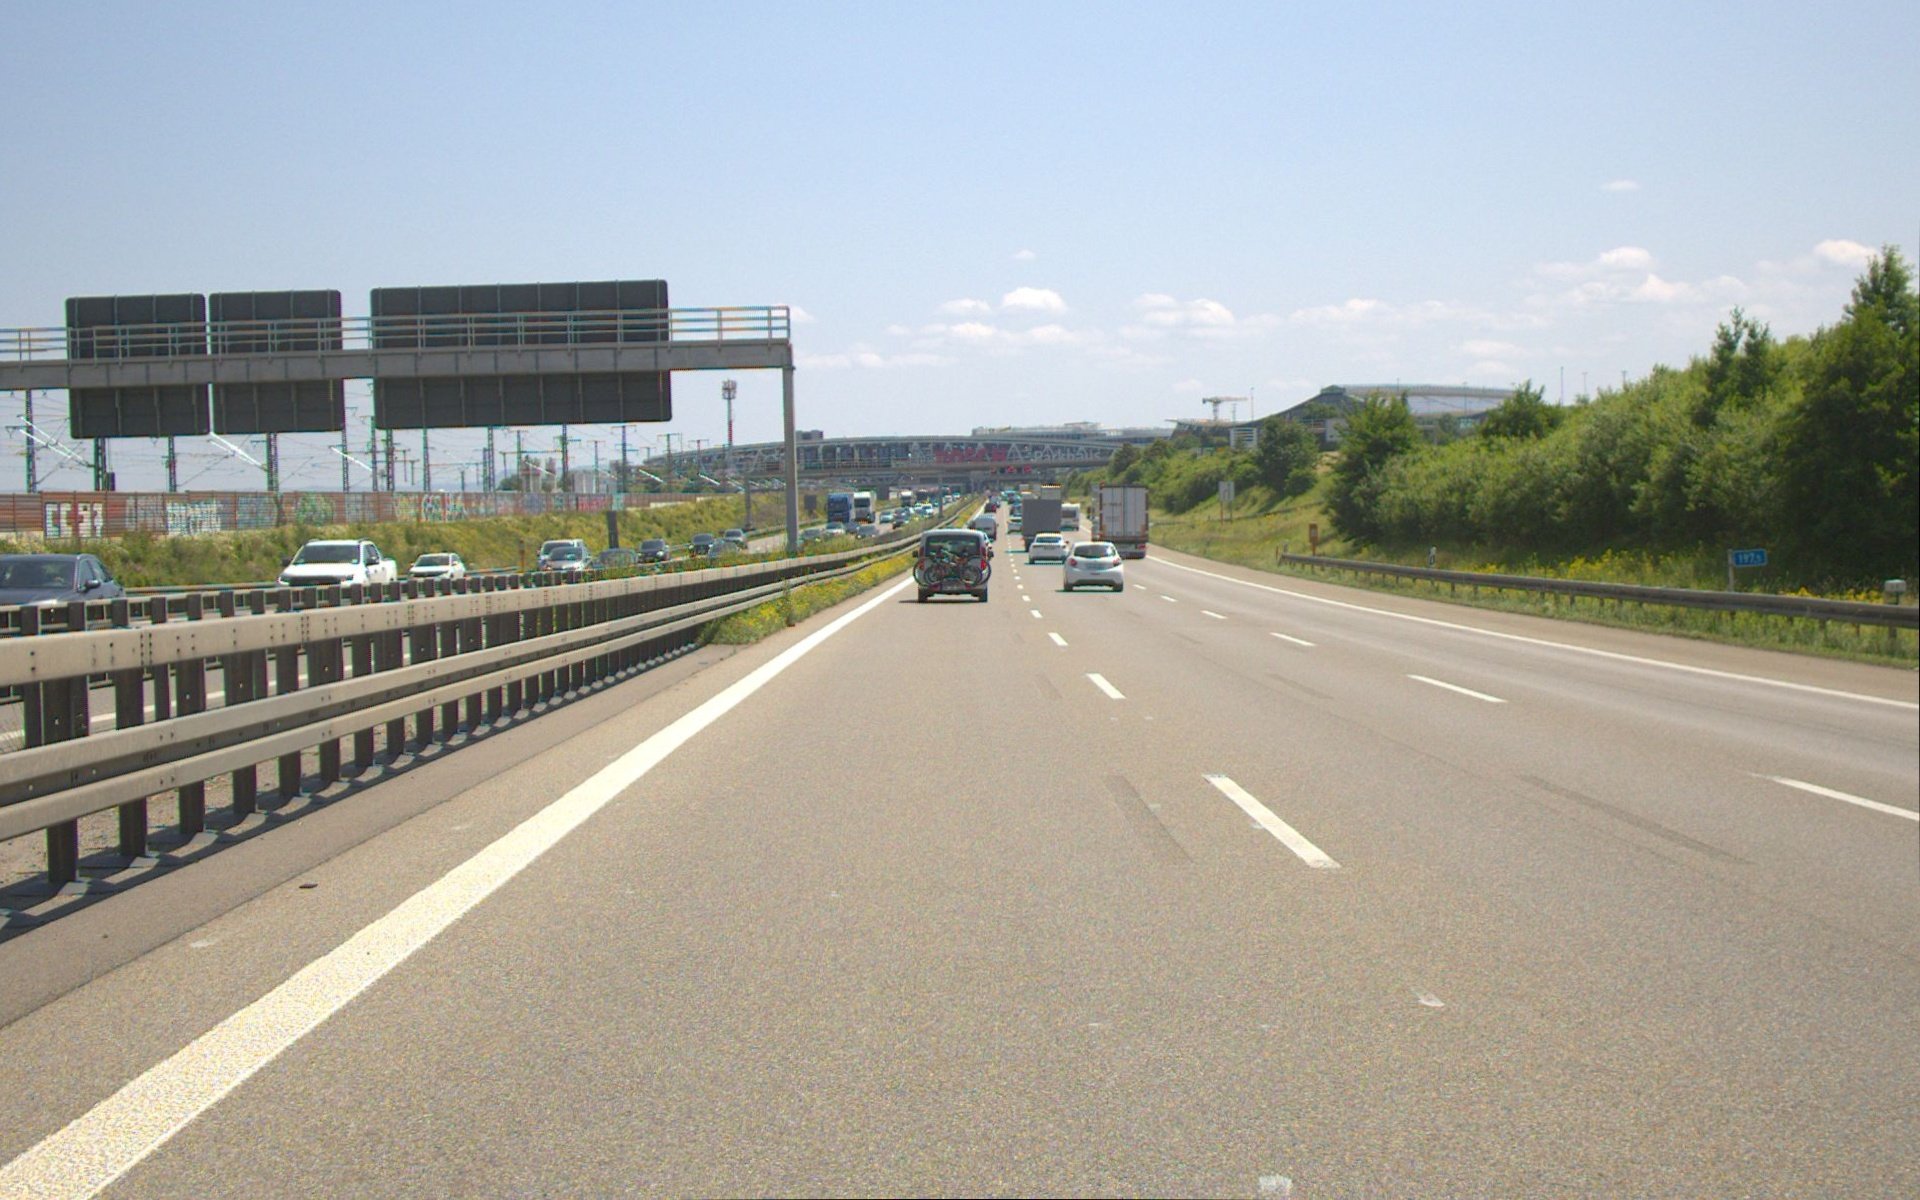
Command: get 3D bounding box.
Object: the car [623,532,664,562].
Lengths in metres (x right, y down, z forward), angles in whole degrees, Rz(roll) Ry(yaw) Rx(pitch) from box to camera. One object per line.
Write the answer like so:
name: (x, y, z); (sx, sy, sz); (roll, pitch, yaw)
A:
car: (-19.194, -3.226, 208.732); (1.993, 1.720, 4.513); (0, 1, 1)

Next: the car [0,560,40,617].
car: (-23.485, -0.283, 82.017); (1.993, 1.307, 4.163); (0, 1, 0)

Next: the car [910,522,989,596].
car: (-0.242, -1.044, 86.291); (1.881, 1.769, 4.000); (-1, 1, 1)

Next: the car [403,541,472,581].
car: (-21.037, -1.583, 138.522); (1.993, 1.570, 4.477); (0, 1, 1)

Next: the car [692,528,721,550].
car: (-17.925, -4.321, 243.317); (1.954, 1.589, 4.001); (0, 1, -2)

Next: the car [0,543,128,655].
car: (-13.716, -0.049, 50.434); (1.993, 1.568, 4.551); (0, 1, -1)

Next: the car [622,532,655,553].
car: (-22.324, -4.015, 238.830); (1.993, 1.465, 4.000); (0, 1, -1)

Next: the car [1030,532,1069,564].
car: (4.353, -2.518, 166.567); (1.881, 1.521, 4.000); (0, 1, 2)

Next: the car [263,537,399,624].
car: (-13.743, -0.463, 75.447); (1.993, 1.824, 5.600); (0, 1, 0)

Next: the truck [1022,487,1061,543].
truck: (5.031, -5.302, 212.591); (2.355, 3.404, 6.057); (-1, 2, 1)

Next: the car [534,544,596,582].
car: (-16.517, -1.568, 143.891); (1.993, 1.570, 4.477); (0, 1, 1)

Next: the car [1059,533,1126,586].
car: (3.946, -1.212, 101.795); (1.881, 1.521, 4.000); (0, 1, 4)

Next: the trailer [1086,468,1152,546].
trailer: (8.592, -5.075, 186.955); (3.177, 4.045, 9.440); (-1, 2, 1)
